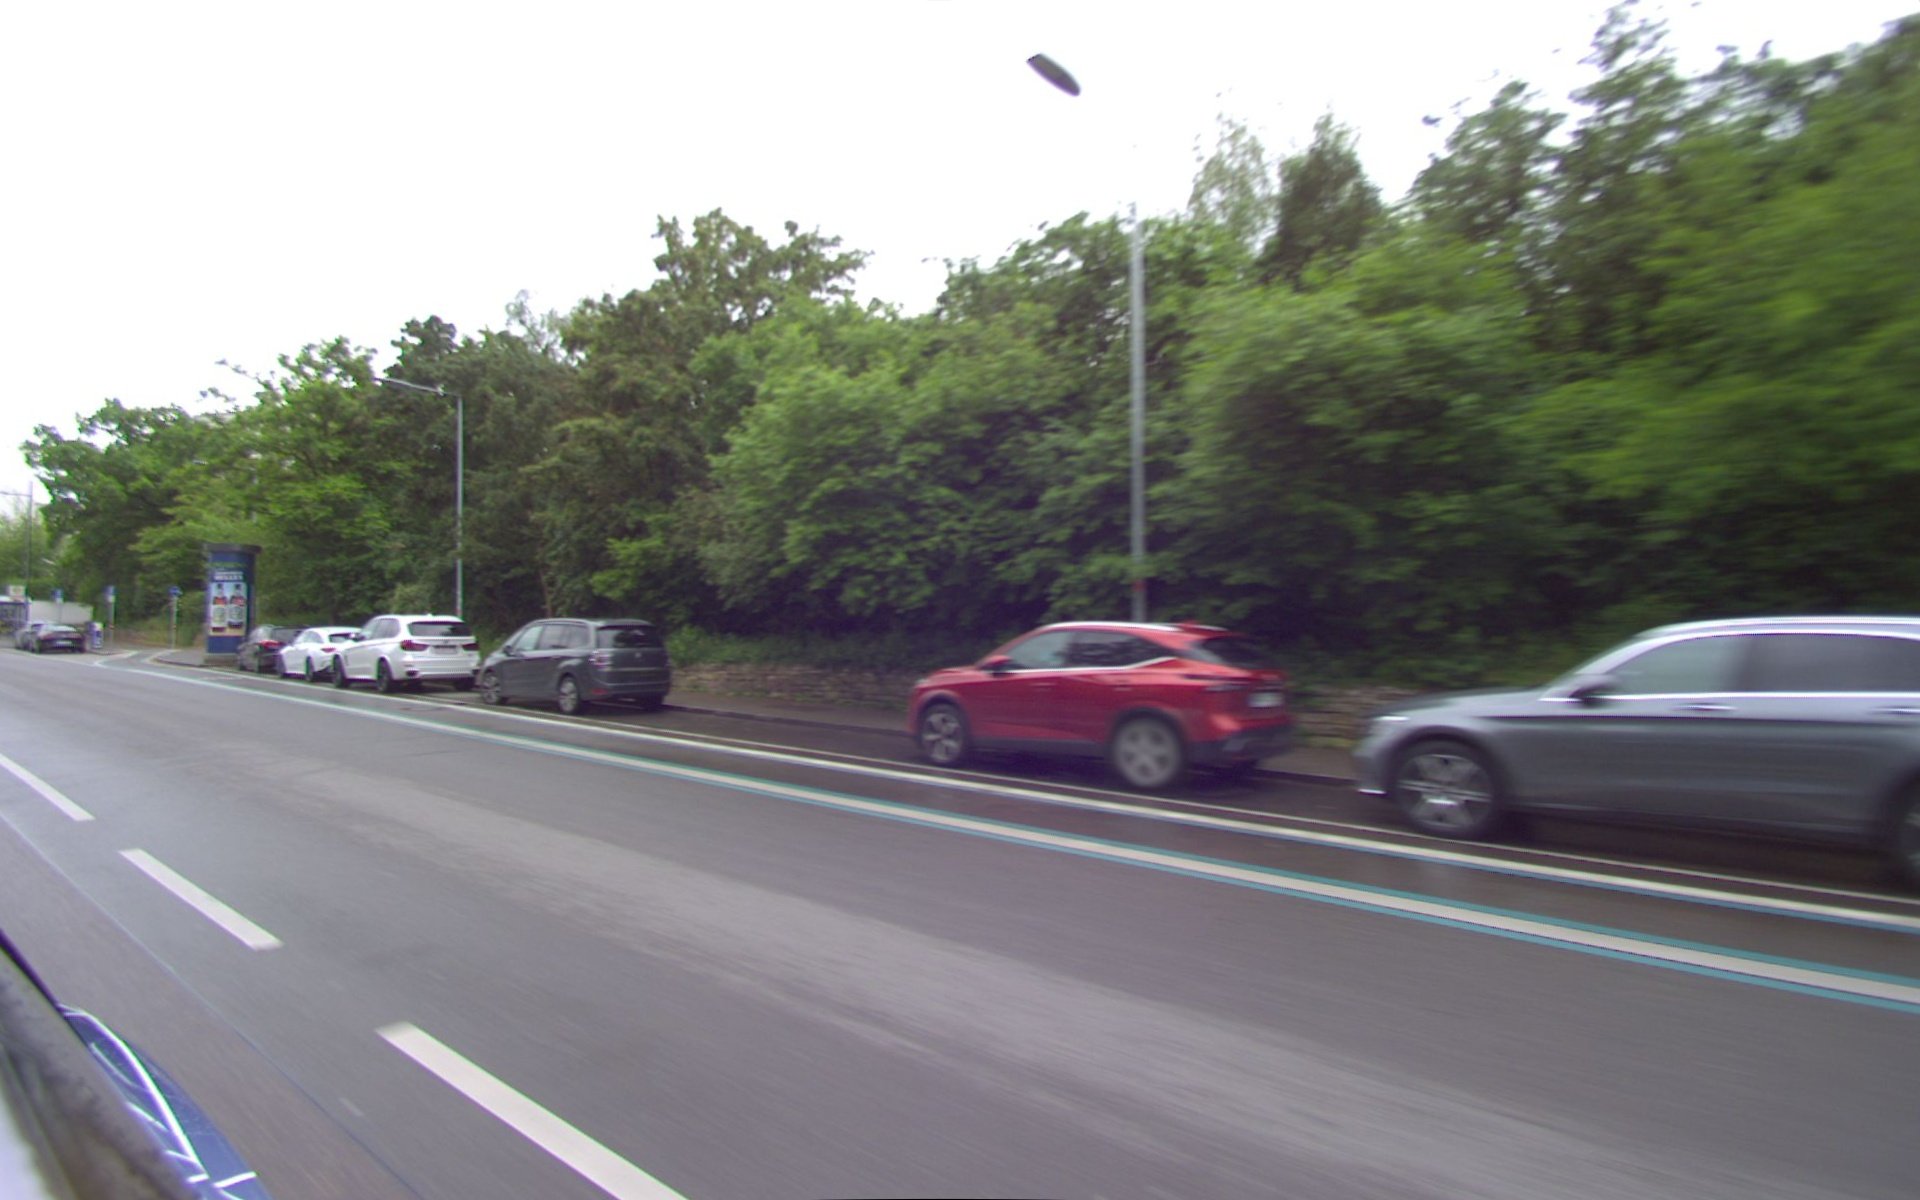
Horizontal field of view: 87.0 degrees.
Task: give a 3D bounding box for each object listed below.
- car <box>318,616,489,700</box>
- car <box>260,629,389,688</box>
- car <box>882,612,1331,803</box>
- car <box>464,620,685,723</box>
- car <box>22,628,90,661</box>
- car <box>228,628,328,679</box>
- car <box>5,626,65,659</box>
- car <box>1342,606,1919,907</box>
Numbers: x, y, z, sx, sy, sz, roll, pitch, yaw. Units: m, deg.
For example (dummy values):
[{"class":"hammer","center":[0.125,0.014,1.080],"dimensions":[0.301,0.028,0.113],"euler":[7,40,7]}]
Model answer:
[{"class":"car","center":[-13.216,1.290,23.890],"dimensions":[4.958,1.779,1.972],"euler":[-1,-2,41]},{"class":"car","center":[-17.464,1.547,27.736],"dimensions":[4.705,1.471,1.700],"euler":[-2,-2,41]},{"class":"car","center":[1.391,0.996,10.869],"dimensions":[4.489,1.629,1.898],"euler":[-2,-3,42]},{"class":"car","center":[-7.119,1.216,18.478],"dimensions":[4.566,1.661,1.714],"euler":[-2,-2,39]},{"class":"car","center":[-44.200,2.137,49.442],"dimensions":[4.780,1.425,1.886],"euler":[0,0,41]},{"class":"car","center":[-21.542,1.643,31.890],"dimensions":[4.588,1.456,1.729],"euler":[-2,-2,44]},{"class":"car","center":[-49.139,2.214,53.745],"dimensions":[4.926,1.601,1.822],"euler":[0,0,41]},{"class":"car","center":[5.374,0.933,7.151],"dimensions":[4.612,1.713,1.973],"euler":[-2,-2,40]}]
